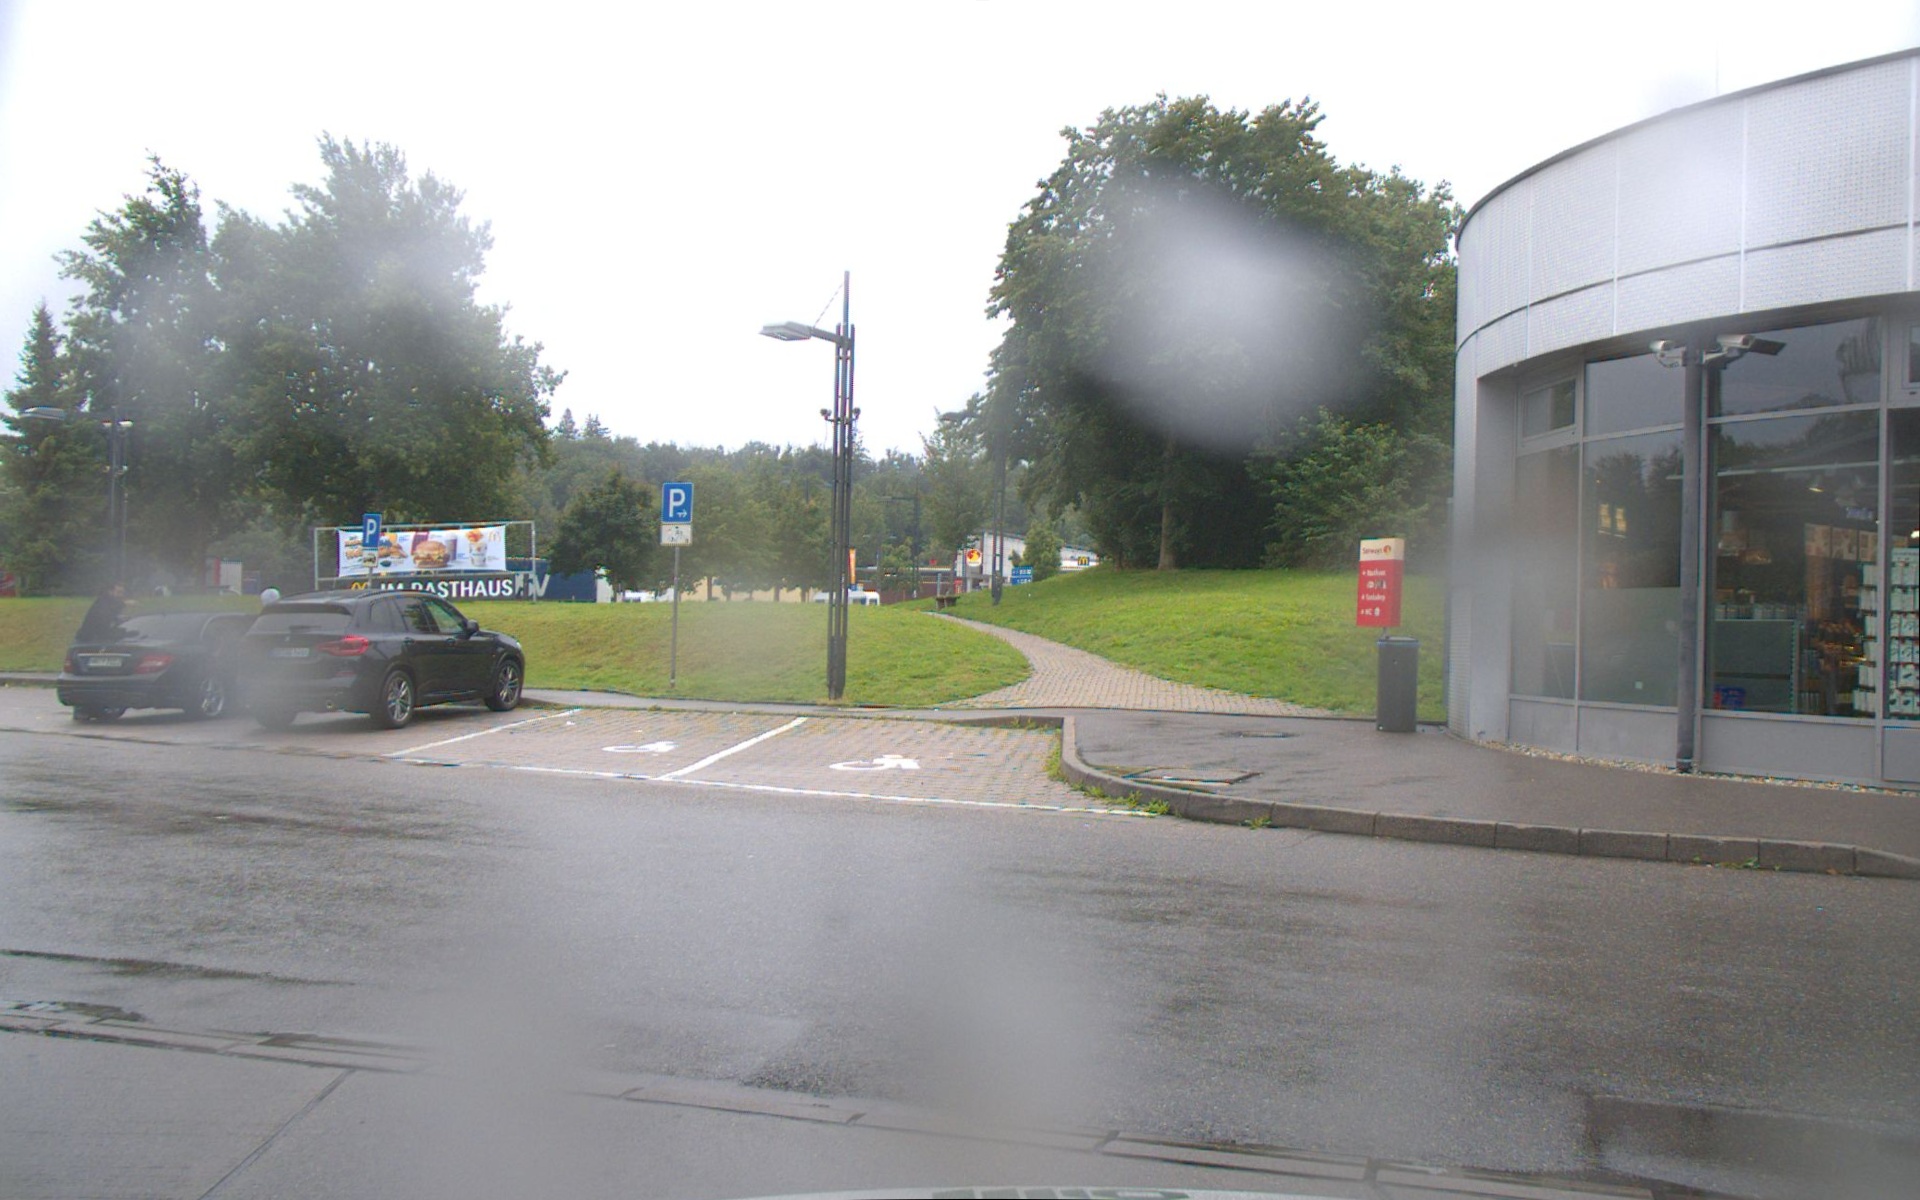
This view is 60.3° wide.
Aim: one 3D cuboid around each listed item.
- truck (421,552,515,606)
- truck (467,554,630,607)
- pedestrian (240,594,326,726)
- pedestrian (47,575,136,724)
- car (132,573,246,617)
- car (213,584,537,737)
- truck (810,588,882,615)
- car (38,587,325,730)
[{"bbox_3d":[-27.985,-1.174,94.243,2.142,2.971,5.384,1,0,24],"label":"truck"},{"bbox_3d":[-24.934,-1.091,101.258,2.142,2.971,13.093,1,0,23],"label":"truck"},{"bbox_3d":[-8.692,0.759,21.236,0.940,1.660,0.698,1,-1,-27],"label":"pedestrian"},{"bbox_3d":[-11.522,0.640,21.939,0.875,1.920,0.701,1,-1,35],"label":"pedestrian"},{"bbox_3d":[-33.061,-0.189,70.995,4.098,1.814,1.818,1,-1,-40],"label":"car"},{"bbox_3d":[-7.368,0.689,21.361,1.973,1.741,4.347,-1,1,11],"label":"car"},{"bbox_3d":[-9.239,0.133,133.656,5.298,2.049,2.366,1,0,24],"label":"truck"},{"bbox_3d":[-10.576,0.716,22.879,1.976,1.741,4.342,-1,1,-2],"label":"car"}]
